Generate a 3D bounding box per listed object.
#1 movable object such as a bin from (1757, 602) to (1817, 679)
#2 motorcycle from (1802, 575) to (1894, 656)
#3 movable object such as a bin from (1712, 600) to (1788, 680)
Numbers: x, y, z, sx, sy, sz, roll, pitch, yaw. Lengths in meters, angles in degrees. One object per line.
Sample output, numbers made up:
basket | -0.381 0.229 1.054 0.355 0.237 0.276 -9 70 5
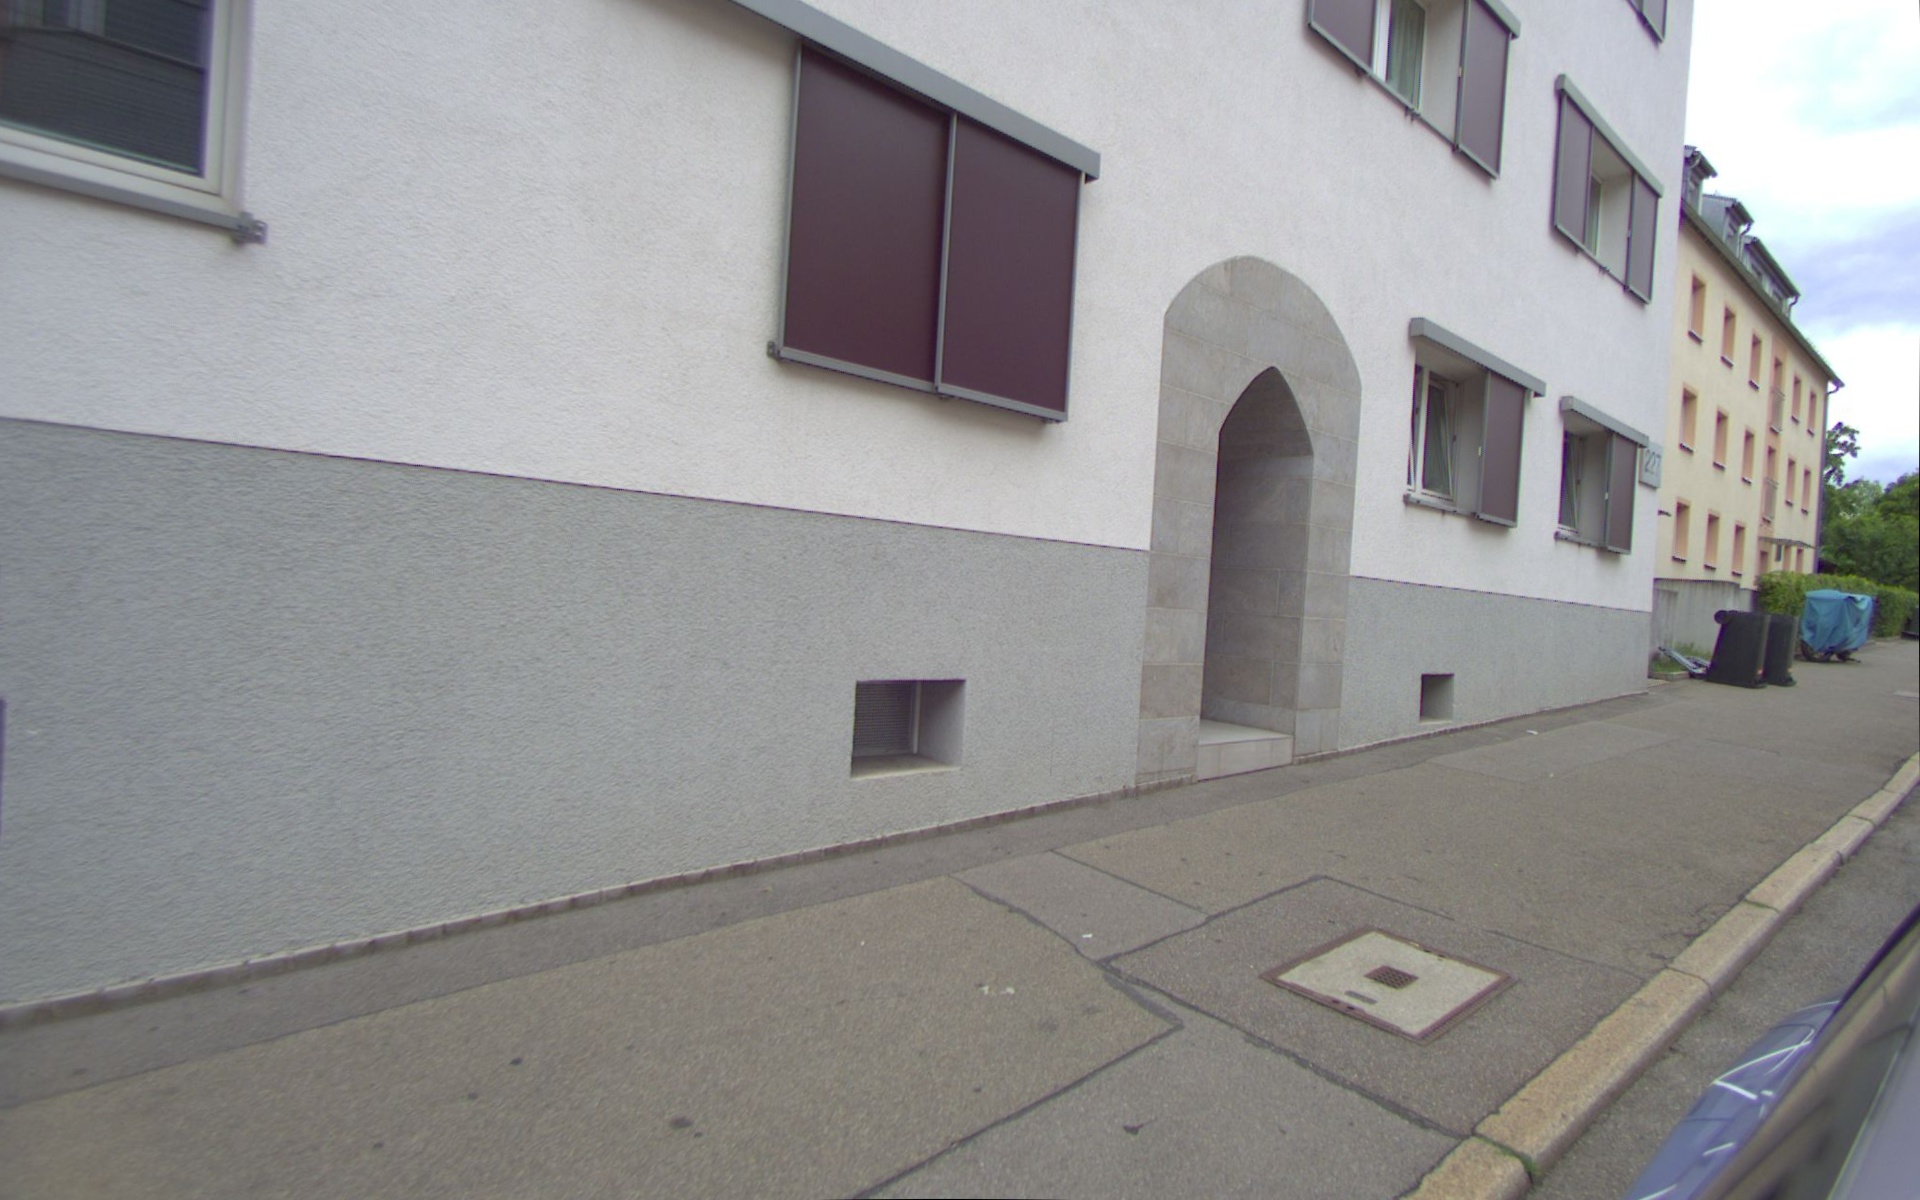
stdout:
movable object such as a bin | 11.852 0.564 14.509 0.563 1.021 0.491 7 5 41
motorcycle | 16.875 0.291 19.219 1.899 1.406 0.733 1 5 -34
movable object such as a bin | 10.960 0.546 14.049 0.592 1.021 0.638 1 5 -40
